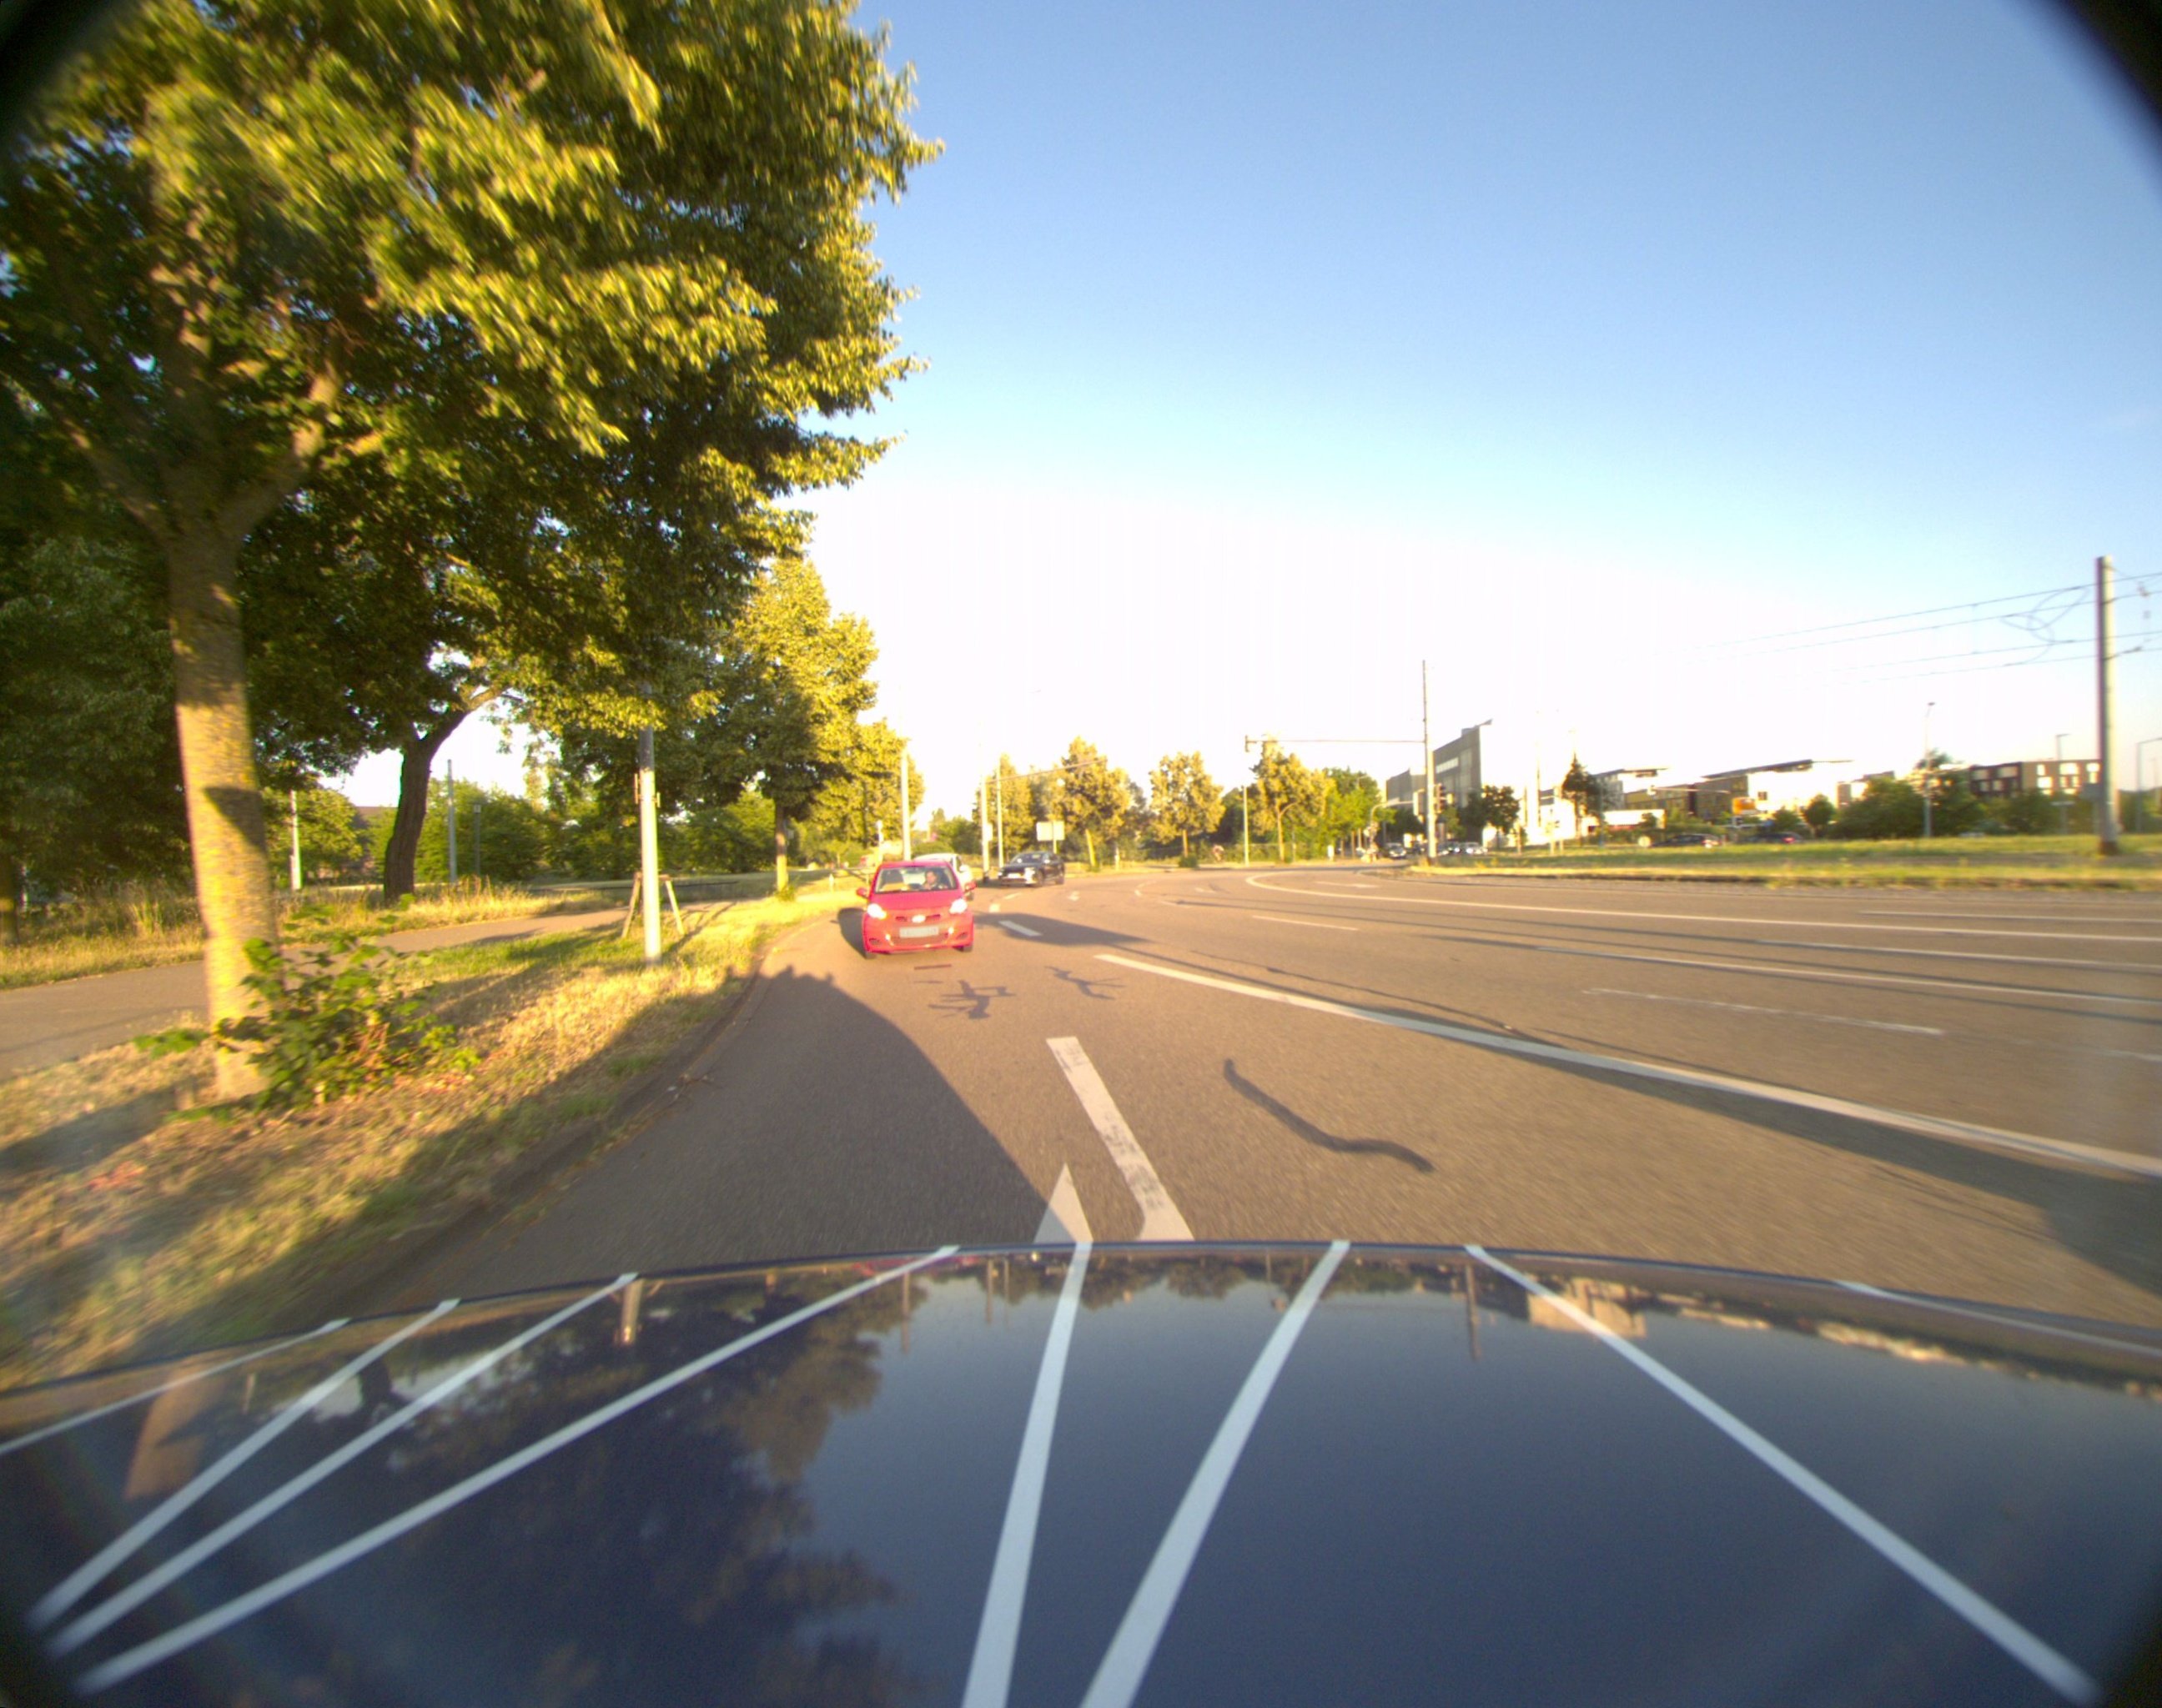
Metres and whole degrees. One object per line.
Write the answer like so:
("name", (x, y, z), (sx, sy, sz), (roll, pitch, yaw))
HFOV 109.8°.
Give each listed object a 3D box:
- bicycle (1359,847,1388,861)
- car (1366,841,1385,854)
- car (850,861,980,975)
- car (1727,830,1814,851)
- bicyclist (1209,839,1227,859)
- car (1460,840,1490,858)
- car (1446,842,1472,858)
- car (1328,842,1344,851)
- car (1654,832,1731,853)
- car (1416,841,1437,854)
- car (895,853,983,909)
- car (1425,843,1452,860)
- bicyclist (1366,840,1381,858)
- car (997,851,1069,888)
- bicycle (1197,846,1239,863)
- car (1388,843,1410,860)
("bicycle", (26.907, -0.001, 69.829), (2.328, 1.172, 0.810), (-2, 1, -5))
("car", (40.468, -0.889, 104.355), (1.870, 1.616, 4.196), (-2, 1, 14))
("car", (-2.764, 0.905, 12.700), (1.695, 1.413, 4.206), (-3, 1, -12))
("car", (51.280, -1.000, 56.641), (1.946, 1.424, 4.395), (-2, 0, -21))
("bicyclist", (12.345, -0.417, 68.337), (1.415, 1.739, 1.124), (-2, 1, 4))
("car", (39.312, -0.530, 75.846), (1.869, 1.616, 4.197), (-2, 1, 17))
("car", (41.186, -0.417, 82.880), (1.869, 1.616, 4.197), (-2, 1, 17))
("car", (45.685, -1.395, 136.279), (1.870, 1.616, 4.195), (-2, 1, 8))
("car", (46.465, -0.827, 57.802), (1.843, 1.492, 4.248), (-2, 0, -17))
("car", (43.903, -0.859, 96.646), (1.869, 1.616, 4.197), (-2, 1, 16))
("car", (-4.310, 0.773, 23.698), (1.758, 1.549, 4.215), (-2, 0, 2))
("car", (36.808, -0.297, 78.360), (1.869, 1.616, 4.197), (-2, 1, 17))
("bicyclist", (26.865, -0.446, 69.814), (1.000, 1.623, 0.810), (-2, 1, -5))
("car", (-2.093, 0.656, 34.579), (1.825, 1.549, 4.220), (-2, 0, 17))
("bicycle", (12.322, 0.028, 68.368), (3.535, 1.387, 1.124), (-2, 1, 4))
("car", (35.036, -0.271, 83.801), (1.869, 1.740, 3.856), (-2, 1, 17))
